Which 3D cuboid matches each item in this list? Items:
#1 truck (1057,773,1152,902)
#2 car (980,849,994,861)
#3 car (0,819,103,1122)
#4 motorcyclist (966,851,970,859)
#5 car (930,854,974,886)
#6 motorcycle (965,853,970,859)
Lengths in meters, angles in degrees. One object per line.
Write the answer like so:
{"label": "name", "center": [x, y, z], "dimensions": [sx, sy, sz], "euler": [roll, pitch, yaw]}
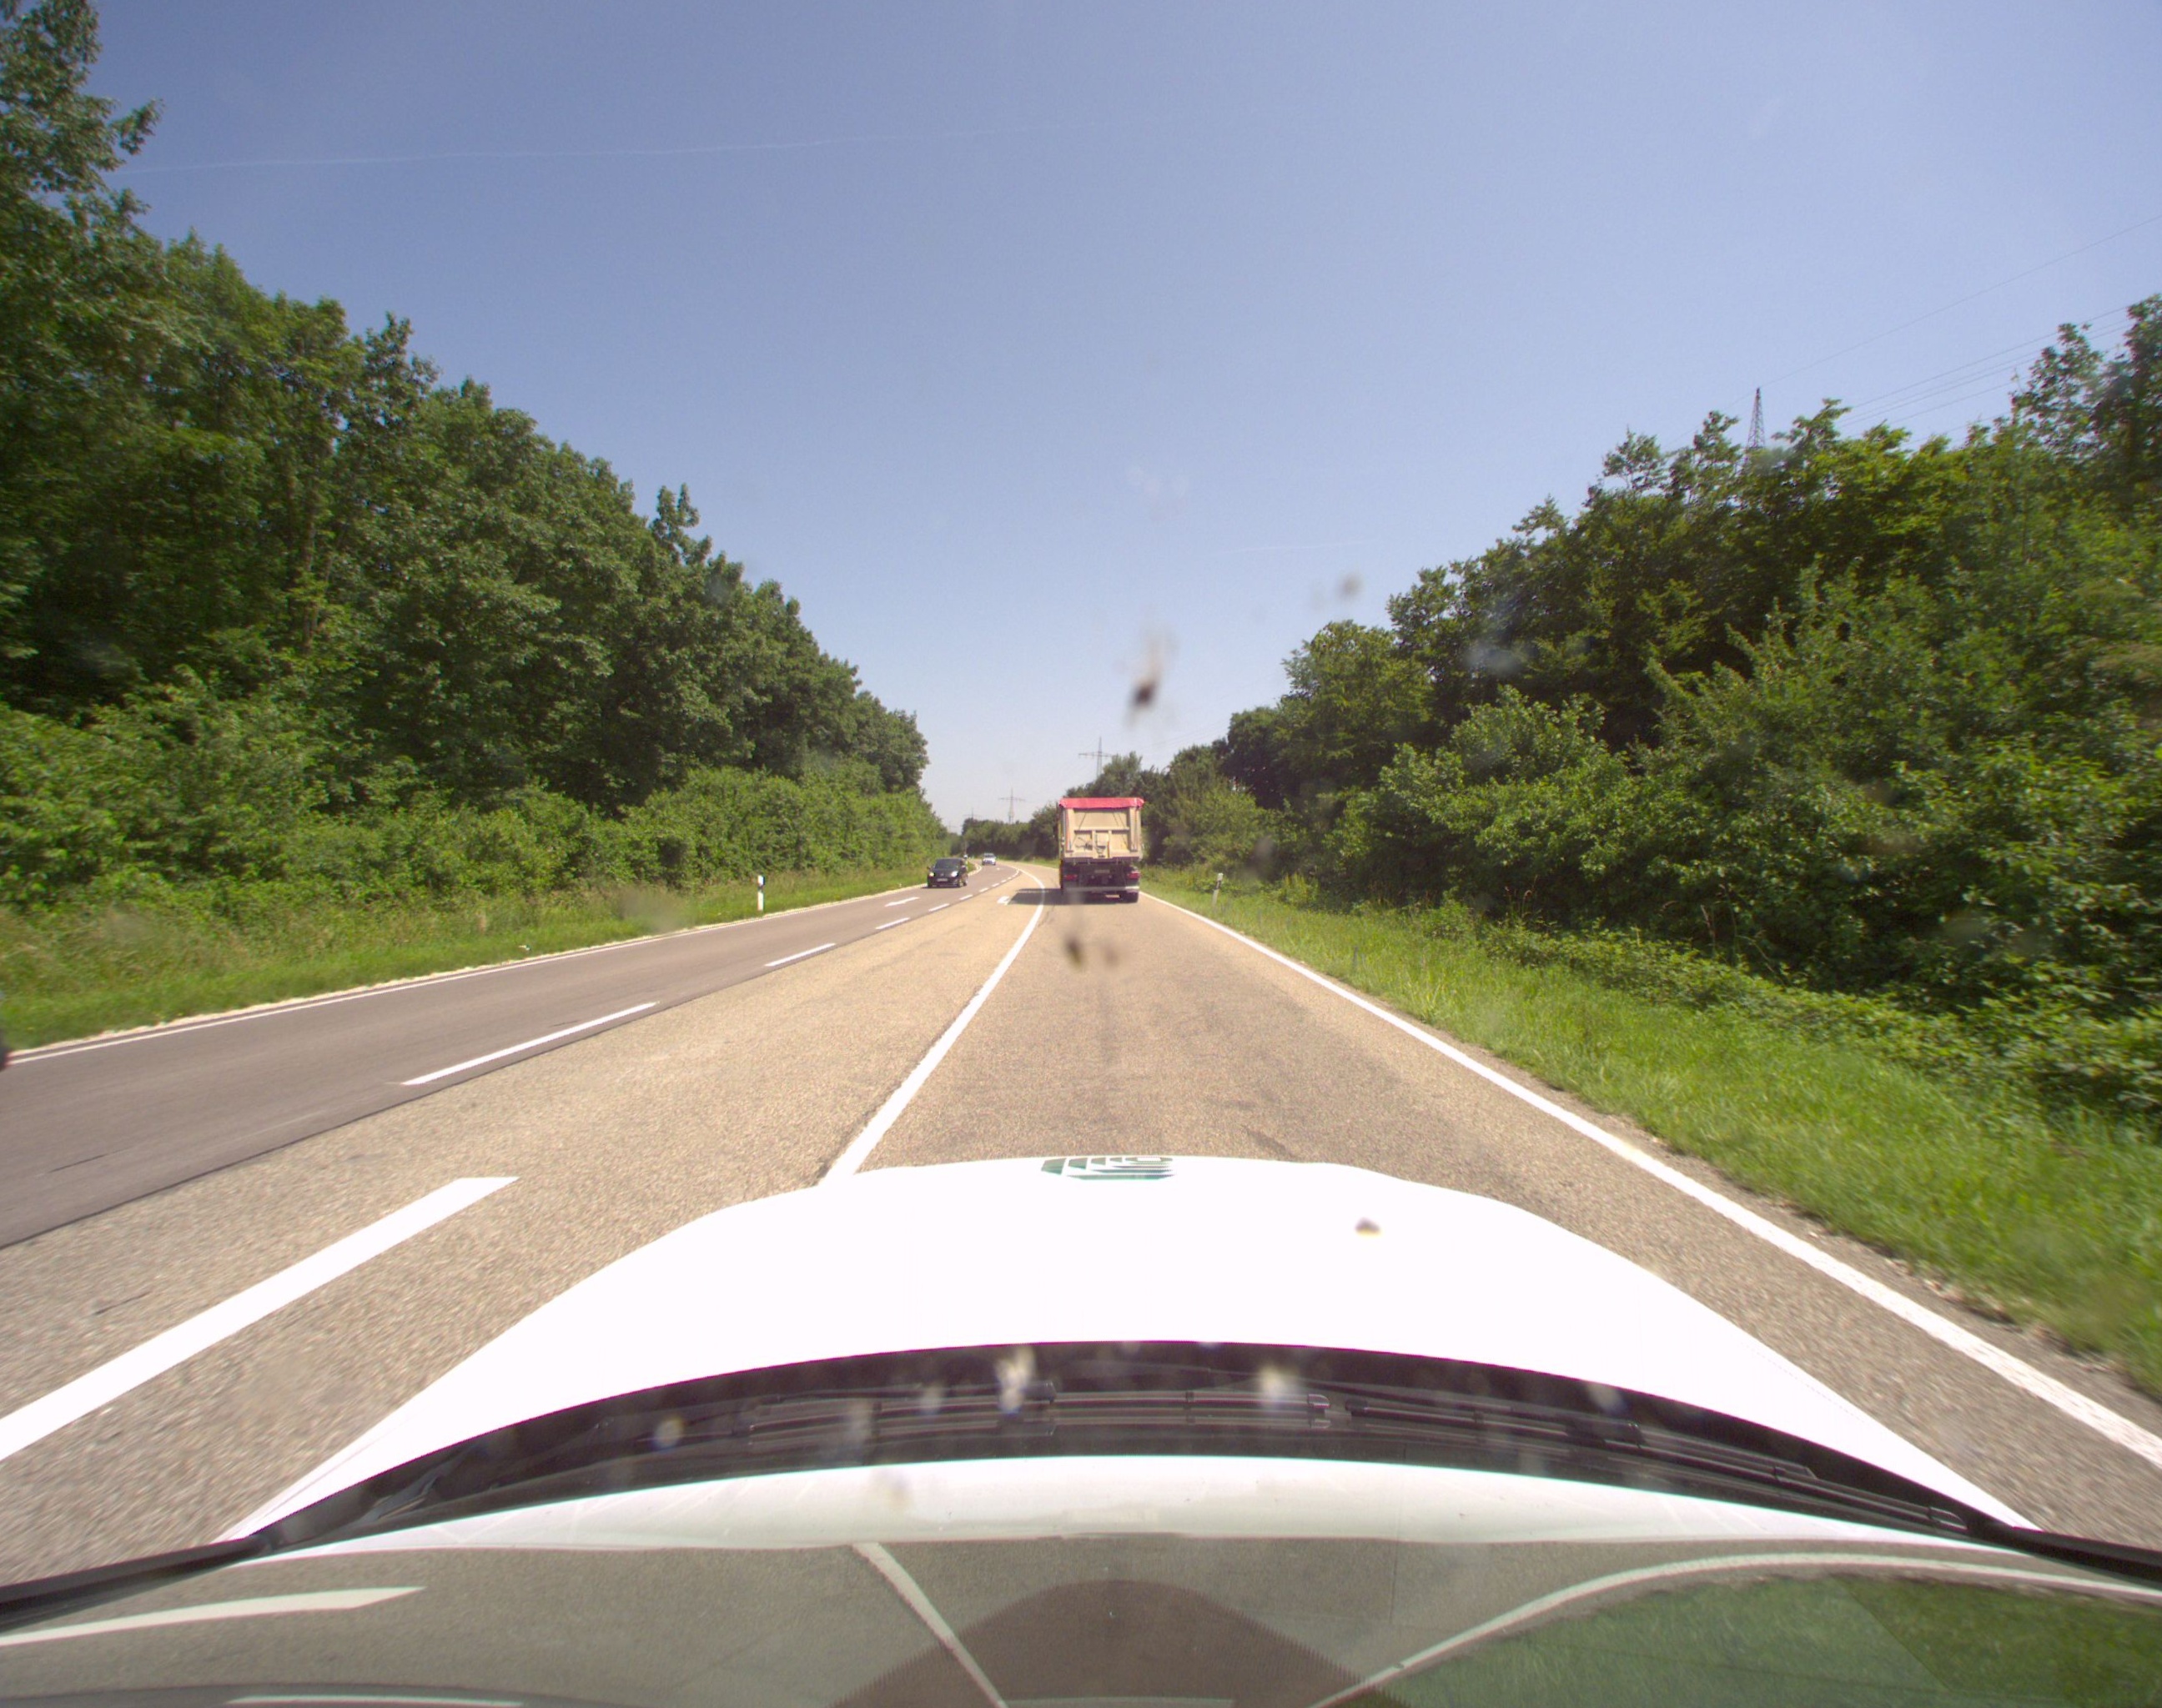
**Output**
{"label": "truck", "center": [0.554, -0.530, 31.098], "dimensions": [2.886, 3.962, 11.923], "euler": [0, 0, -2]}
{"label": "car", "center": [-13.091, 0.195, 113.290], "dimensions": [1.799, 1.636, 4.205], "euler": [0, 0, -4]}
{"label": "car", "center": [-7.274, 0.696, 2.826], "dimensions": [1.837, 1.779, 4.893], "euler": [0, 0, 0]}
{"label": "motorcyclist", "center": [-23.776, 0.250, 171.154], "dimensions": [0.830, 1.752, 0.621], "euler": [0, 0, -8]}
{"label": "car", "center": [-6.395, 0.784, 40.770], "dimensions": [1.609, 1.502, 3.552], "euler": [-1, 0, 0]}
{"label": "motorcycle", "center": [-23.744, 0.495, 170.627], "dimensions": [0.946, 1.251, 2.675], "euler": [0, 0, -8]}
